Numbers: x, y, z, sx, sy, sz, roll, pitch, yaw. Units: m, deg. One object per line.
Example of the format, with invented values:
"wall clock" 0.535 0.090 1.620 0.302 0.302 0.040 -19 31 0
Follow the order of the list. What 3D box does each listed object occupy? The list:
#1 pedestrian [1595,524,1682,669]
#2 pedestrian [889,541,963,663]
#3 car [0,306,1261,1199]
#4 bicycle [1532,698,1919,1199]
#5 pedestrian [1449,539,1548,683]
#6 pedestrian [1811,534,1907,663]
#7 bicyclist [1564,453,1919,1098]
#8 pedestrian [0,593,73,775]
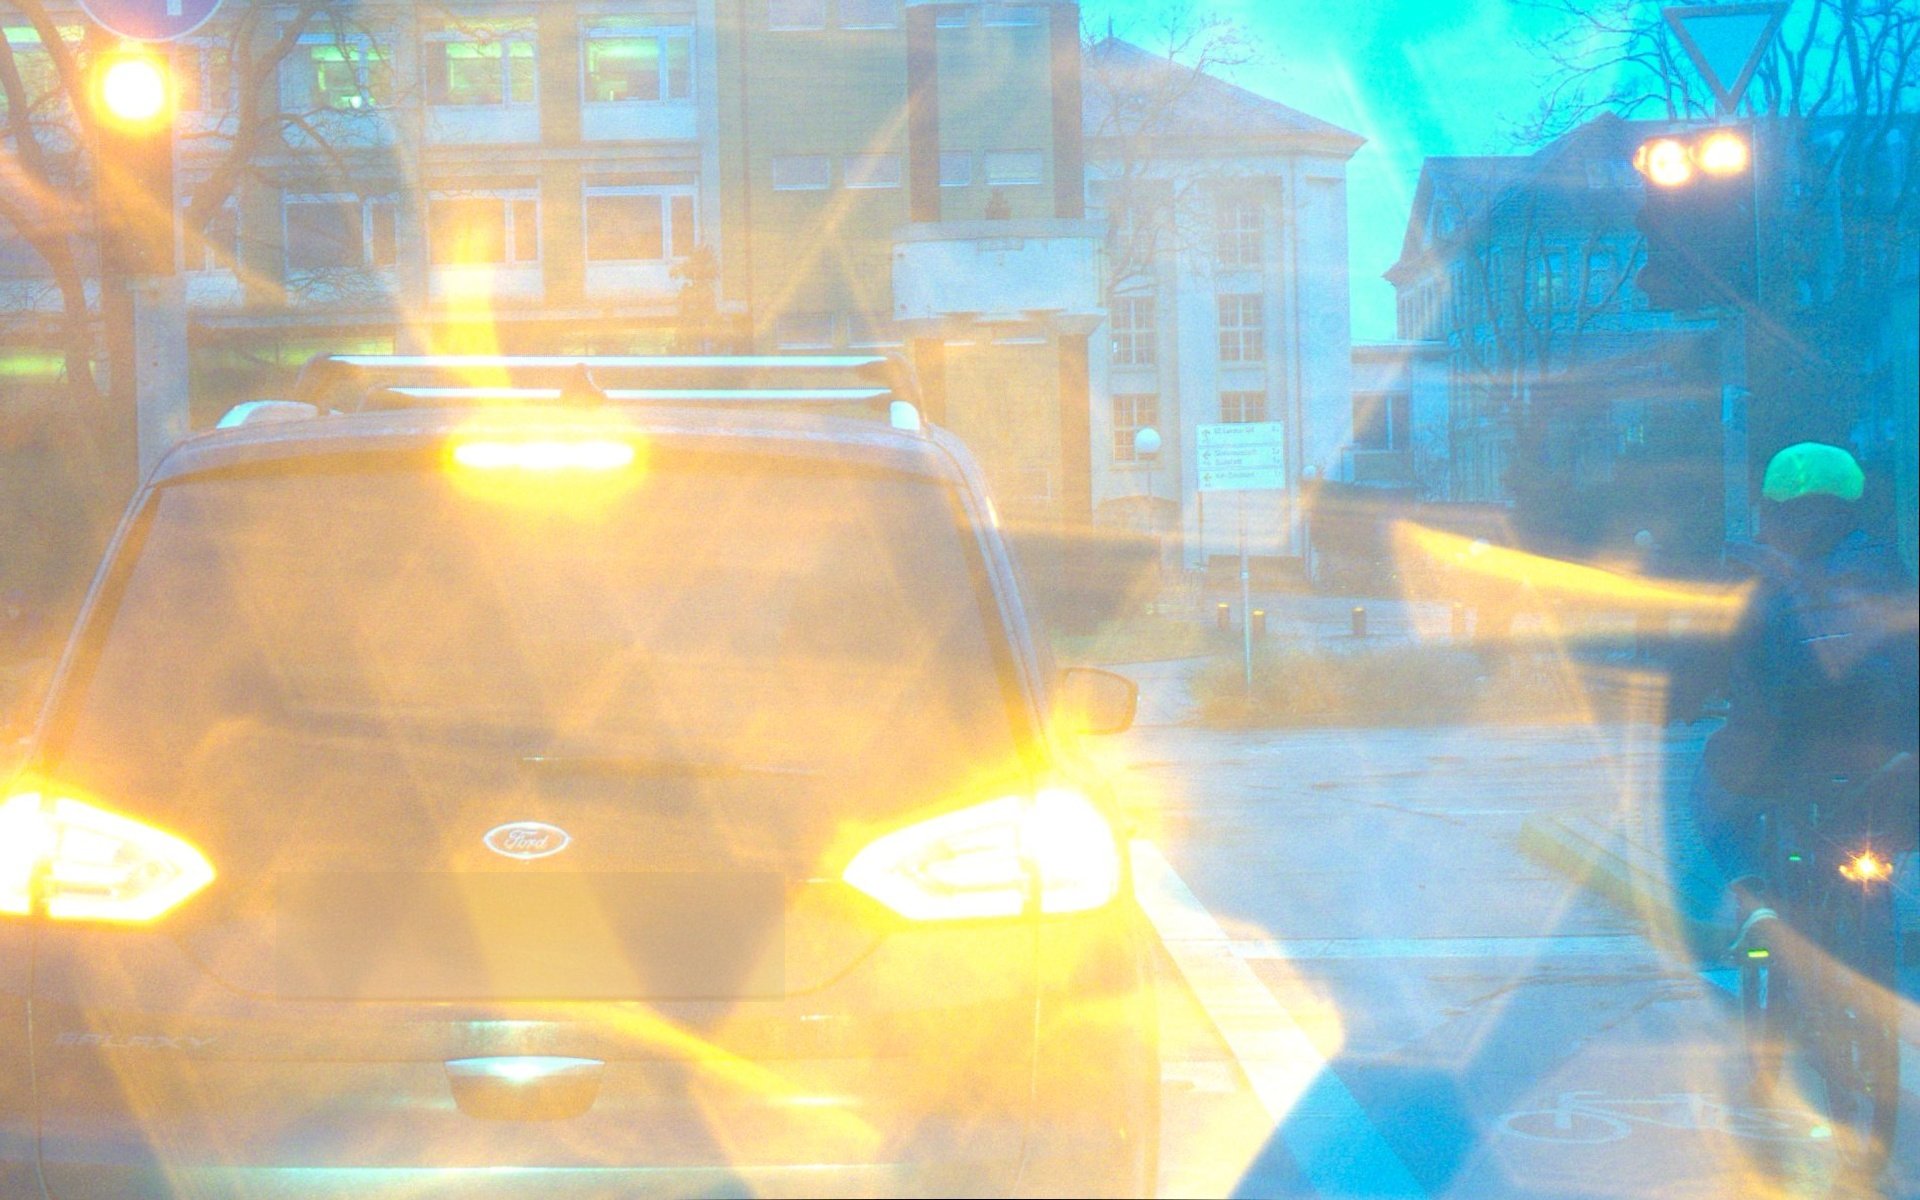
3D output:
"pedestrian" 8.647 -0.046 43.838 0.997 1.793 0.919 -2 1 9
"pedestrian" -0.468 0.028 46.934 0.759 1.622 0.722 -3 1 -20
"car" -0.631 0.491 6.571 1.993 1.783 4.000 1 1 -1
"bicycle" 1.976 0.818 8.438 0.783 1.071 1.957 1 1 -1
"pedestrian" 6.684 0.133 42.629 1.136 1.714 0.981 -2 1 10
"pedestrian" 11.037 -0.028 42.245 0.924 1.527 1.043 -2 1 4
"bicyclist" 1.970 0.391 8.319 0.783 1.448 1.134 1 0 -1
"pedestrian" -10.660 0.932 38.512 0.928 1.971 0.959 -1 1 26
